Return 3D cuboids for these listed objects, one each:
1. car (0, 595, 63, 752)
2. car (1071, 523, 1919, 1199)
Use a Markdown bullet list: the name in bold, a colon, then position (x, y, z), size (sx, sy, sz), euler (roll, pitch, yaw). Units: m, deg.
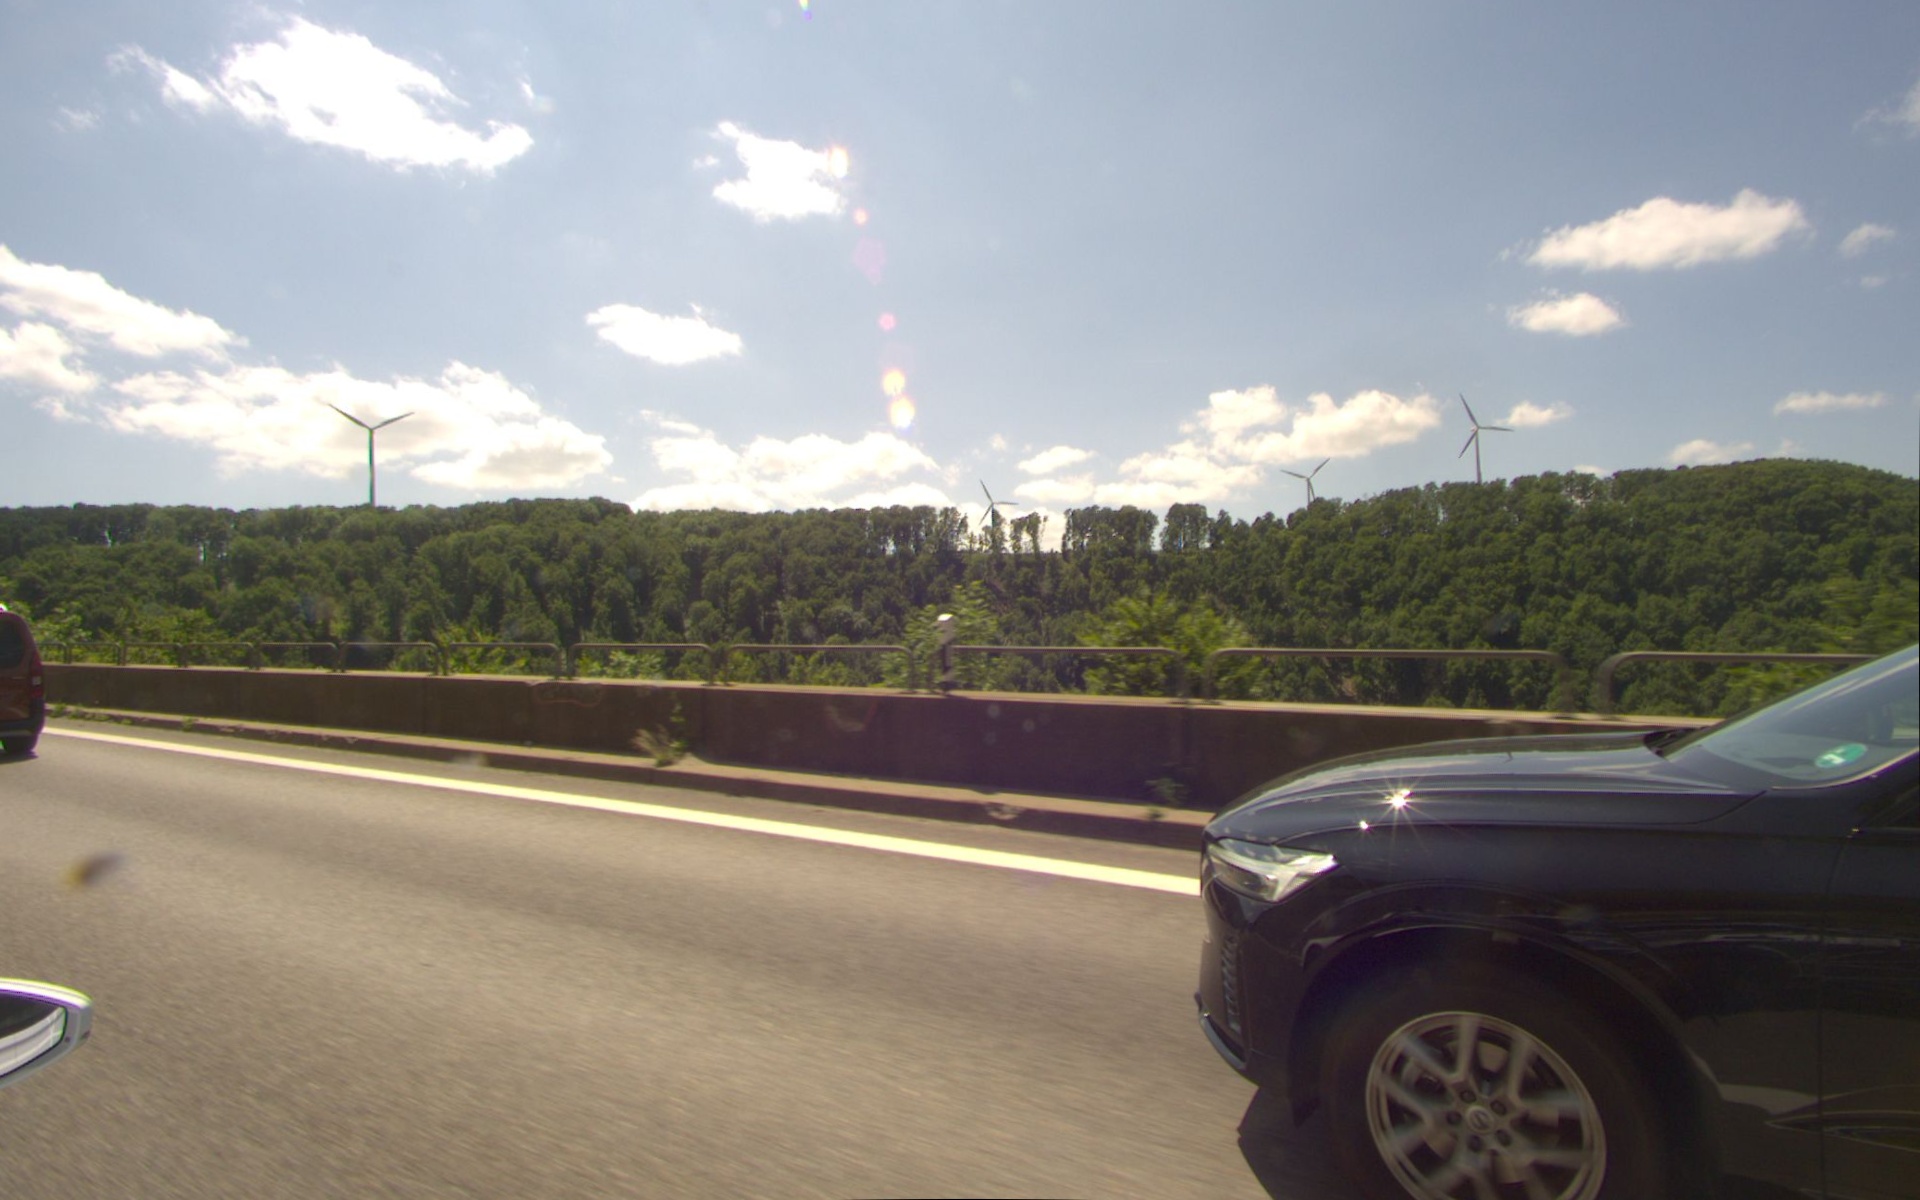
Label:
- **car**: position (-13.265, 0.908, 12.463), size (4.607, 1.807, 1.831), euler (-2, -1, 31)
- **car**: position (2.734, 0.724, 2.291), size (4.594, 1.654, 1.833), euler (0, -2, 31)
